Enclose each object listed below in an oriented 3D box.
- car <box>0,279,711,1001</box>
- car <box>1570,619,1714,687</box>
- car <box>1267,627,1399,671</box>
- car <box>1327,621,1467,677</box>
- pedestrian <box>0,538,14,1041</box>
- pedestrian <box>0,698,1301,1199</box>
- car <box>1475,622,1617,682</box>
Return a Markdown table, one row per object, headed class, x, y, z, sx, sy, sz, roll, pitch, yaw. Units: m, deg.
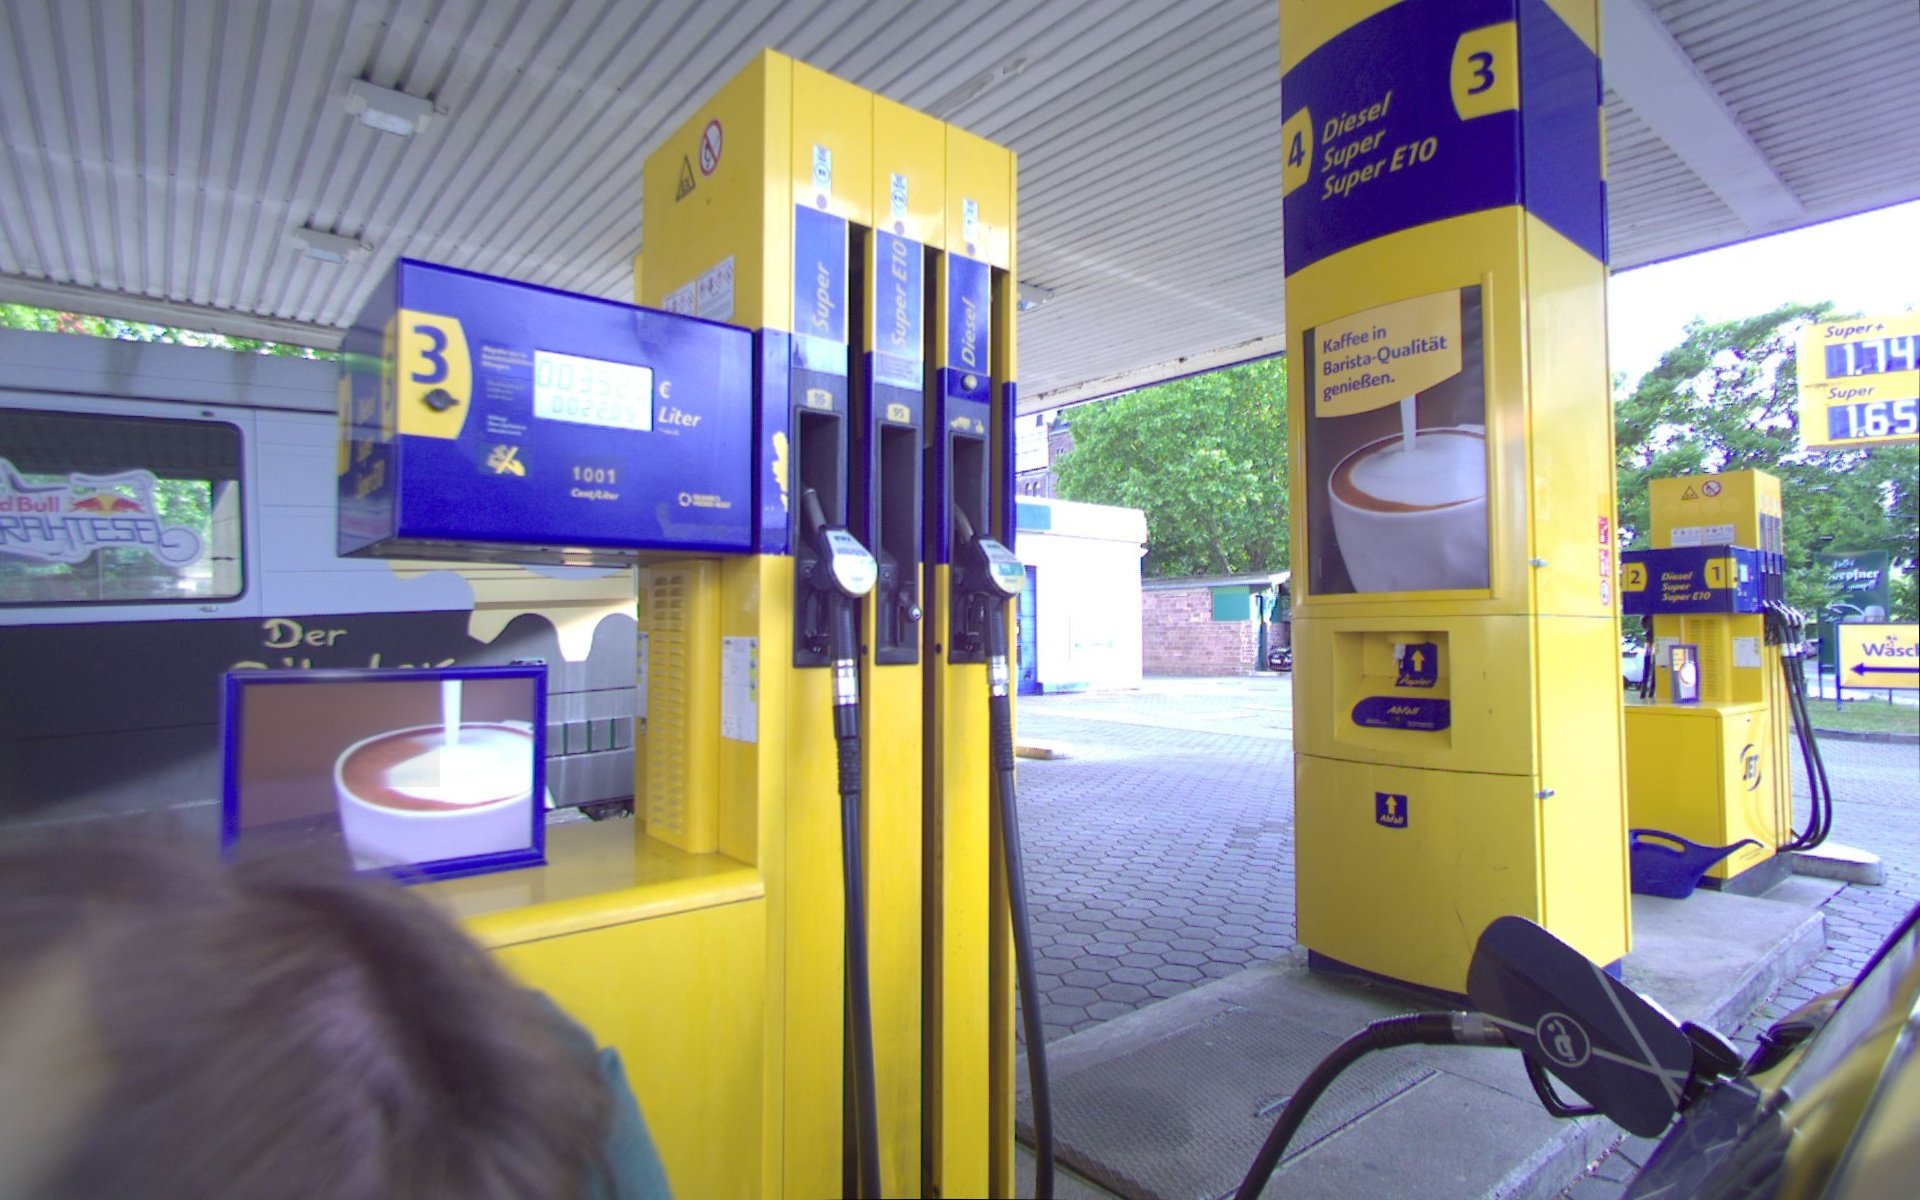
| class | x | y | z | sx | sy | sz | roll | pitch | yaw |
| --- | --- | --- | --- | --- | --- | --- | --- | --- | --- |
| car | -4.104 | 0.167 | 4.889 | 5.197 | 2.726 | 2.258 | 1 | -2 | -39 |
| car | 18.360 | 1.451 | 27.199 | 4.308 | 1.622 | 1.774 | 4 | -4 | -35 |
| car | 12.694 | 1.659 | 34.424 | 4.303 | 1.393 | 1.777 | 2 | -1 | -28 |
| car | 13.891 | 1.536 | 32.133 | 4.303 | 1.622 | 1.777 | 2 | -1 | -28 |
| pedestrian | -3.702 | 0.677 | 3.180 | 0.962 | 1.785 | 0.980 | 0 | 0 | -37 |
| pedestrian | -0.328 | 0.755 | 0.541 | 0.662 | 1.298 | 0.751 | 0 | 0 | -41 |
| car | 17.850 | 1.595 | 30.798 | 4.303 | 1.622 | 1.776 | 4 | -4 | -28 |
